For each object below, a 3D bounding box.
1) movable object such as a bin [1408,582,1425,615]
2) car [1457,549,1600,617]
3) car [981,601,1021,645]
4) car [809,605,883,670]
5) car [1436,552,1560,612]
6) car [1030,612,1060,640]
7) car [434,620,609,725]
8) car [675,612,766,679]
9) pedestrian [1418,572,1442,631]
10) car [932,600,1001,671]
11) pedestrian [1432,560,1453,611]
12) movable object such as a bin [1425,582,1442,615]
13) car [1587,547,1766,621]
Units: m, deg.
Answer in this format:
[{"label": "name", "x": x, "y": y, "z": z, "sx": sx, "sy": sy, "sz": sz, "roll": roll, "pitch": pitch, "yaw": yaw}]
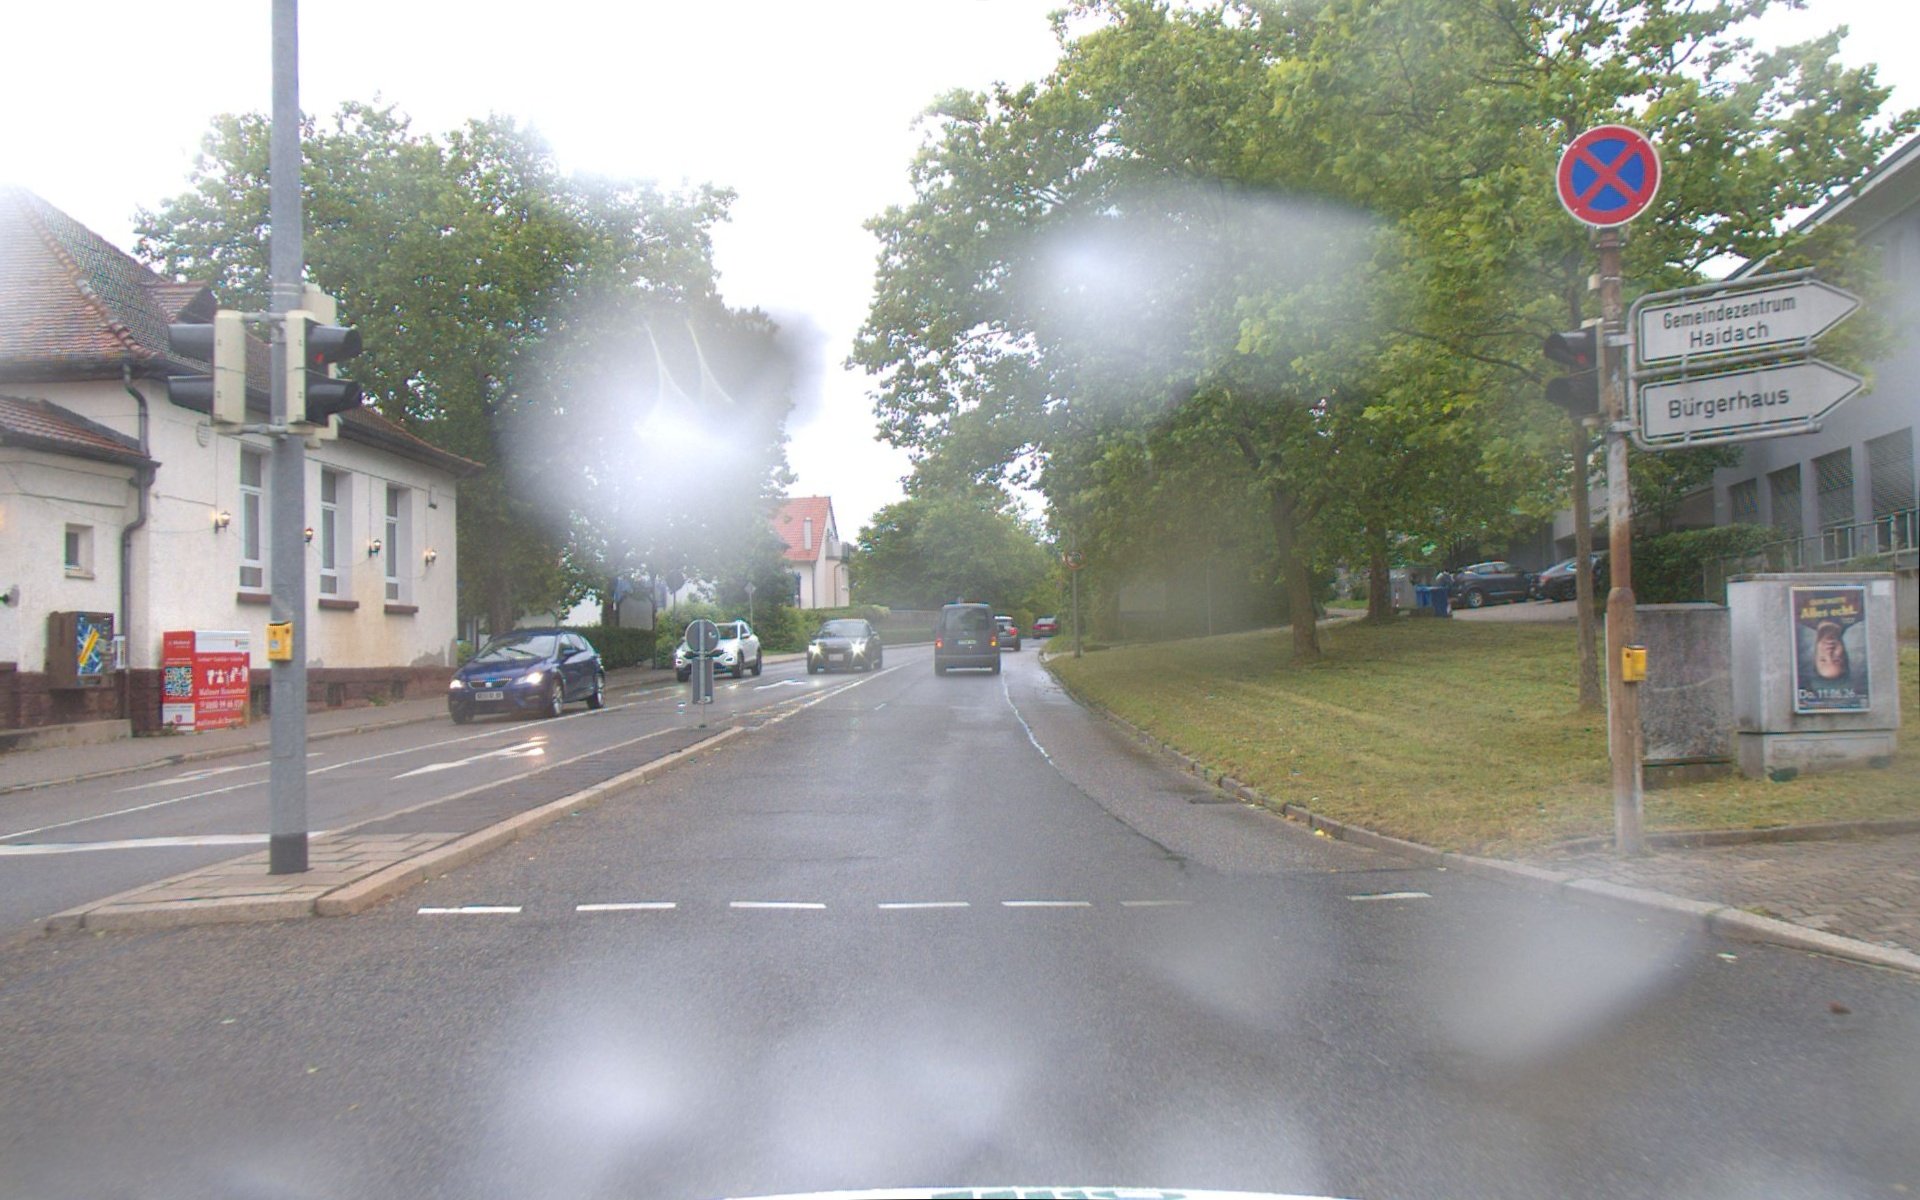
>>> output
[{"label": "movable object such as a bin", "x": 12.885, "y": -0.030, "z": 46.717, "sx": 0.440, "sy": 0.921, "sz": 0.463, "roll": 0, "pitch": -1, "yaw": 19}, {"label": "car", "x": 17.163, "y": -0.495, "z": 50.131, "sx": 3.902, "sy": 1.965, "sz": 2.001, "roll": 0, "pitch": -1, "yaw": 13}, {"label": "car", "x": 1.746, "y": 0.986, "z": 71.514, "sx": 1.670, "sy": 1.840, "sz": 3.684, "roll": 0, "pitch": -1, "yaw": 0}, {"label": "car", "x": -3.168, "y": 1.017, "z": 46.607, "sx": 1.711, "sy": 1.701, "sz": 3.708, "roll": -1, "pitch": 0, "yaw": 1}, {"label": "car", "x": 17.152, "y": -0.566, "z": 52.831, "sx": 3.522, "sy": 1.848, "sz": 1.829, "roll": 0, "pitch": -1, "yaw": 9}, {"label": "car", "x": 5.939, "y": 1.845, "z": 115.740, "sx": 1.952, "sy": 1.915, "sz": 4.000, "roll": 0, "pitch": -1, "yaw": 1}, {"label": "car", "x": -7.391, "y": 1.170, "z": 28.304, "sx": 1.756, "sy": 1.554, "sz": 4.209, "roll": -1, "pitch": 0, "yaw": 1}, {"label": "car", "x": -6.614, "y": 1.230, "z": 46.026, "sx": 1.792, "sy": 1.701, "sz": 4.051, "roll": -1, "pitch": 0, "yaw": 1}, {"label": "pedestrian", "x": 14.466, "y": 0.042, "z": 50.931, "sx": 0.546, "sy": 1.794, "sz": 0.728, "roll": 0, "pitch": -1, "yaw": -1}, {"label": "car", "x": 0.177, "y": 0.950, "z": 44.563, "sx": 1.775, "sy": 1.840, "sz": 3.756, "roll": 0, "pitch": -1, "yaw": 0}, {"label": "pedestrian", "x": 15.682, "y": -0.469, "z": 53.779, "sx": 0.588, "sy": 1.645, "sz": 0.526, "roll": 0, "pitch": -1, "yaw": 10}, {"label": "movable object such as a bin", "x": 13.325, "y": -0.029, "z": 46.548, "sx": 0.440, "sy": 0.921, "sz": 0.463, "roll": 0, "pitch": -1, "yaw": 19}, {"label": "car", "x": 18.368, "y": -0.393, "z": 42.577, "sx": 3.902, "sy": 1.848, "sz": 2.001, "roll": 0, "pitch": -1, "yaw": 11}]
